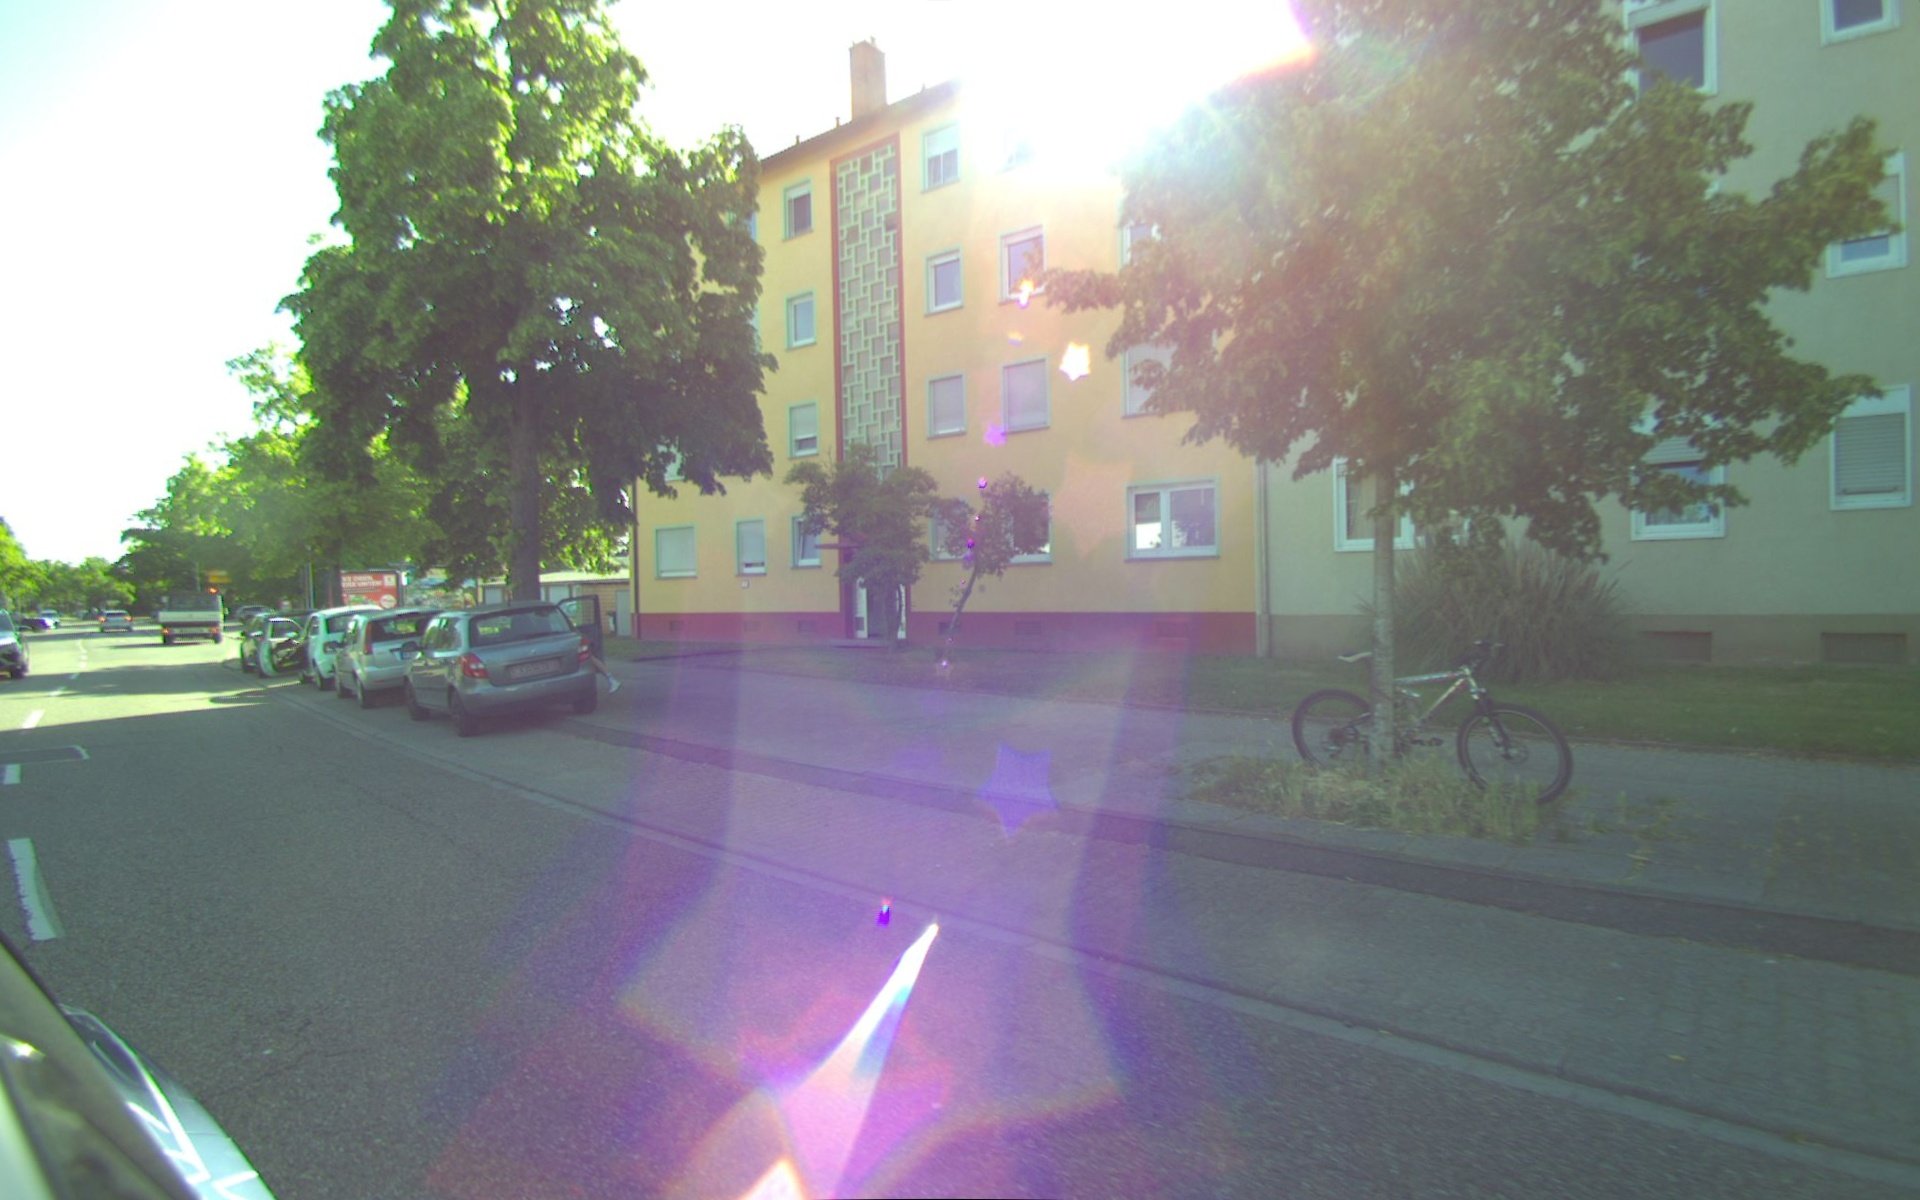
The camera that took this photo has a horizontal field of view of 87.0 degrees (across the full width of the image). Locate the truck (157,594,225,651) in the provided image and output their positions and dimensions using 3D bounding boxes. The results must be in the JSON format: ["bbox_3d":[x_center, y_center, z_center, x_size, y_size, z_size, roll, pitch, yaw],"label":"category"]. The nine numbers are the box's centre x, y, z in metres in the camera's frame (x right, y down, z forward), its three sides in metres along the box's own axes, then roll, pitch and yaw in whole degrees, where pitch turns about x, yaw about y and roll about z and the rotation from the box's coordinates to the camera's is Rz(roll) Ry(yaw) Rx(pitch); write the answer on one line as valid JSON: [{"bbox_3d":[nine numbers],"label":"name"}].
[{"bbox_3d":[-34.067,0.953,44.969,2.101,2.352,6.459,0,-1,-35],"label":"truck"}]

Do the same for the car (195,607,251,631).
[{"bbox_3d":[-68.602,1.729,94.234,2.000,2.029,3.943,-1,1,43],"label":"car"}]

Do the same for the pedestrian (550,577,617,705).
[{"bbox_3d":[-5.293,0.547,14.220,0.677,1.731,0.721,0,1,-41],"label":"pedestrian"}]

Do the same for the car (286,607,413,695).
[{"bbox_3d":[-12.530,0.946,20.663,1.679,1.534,4.060,0,0,-39],"label":"car"}]

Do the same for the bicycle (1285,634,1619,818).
[{"bbox_3d":[3.003,0.720,6.375,0.362,0.976,1.887,0,-1,-41],"label":"bicycle"}]

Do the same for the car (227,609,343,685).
[{"bbox_3d":[-16.226,1.050,24.240,1.680,1.491,4.057,-4,3,-42],"label":"car"}]

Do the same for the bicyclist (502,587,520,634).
[{"bbox_3d":[-16.306,0.385,36.757,0.379,1.698,0.387,-3,0,18],"label":"bicyclist"}]

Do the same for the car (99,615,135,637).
[{"bbox_3d":[-59.391,1.811,71.254,1.814,1.500,4.896,0,-1,-41],"label":"car"}]

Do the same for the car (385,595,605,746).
[{"bbox_3d":[-6.157,0.814,13.167,1.548,1.541,3.925,-6,3,-39],"label":"car"}]

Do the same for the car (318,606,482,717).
[{"bbox_3d":[-9.400,0.921,16.830,1.637,1.521,4.007,-4,2,-39],"label":"car"}]
